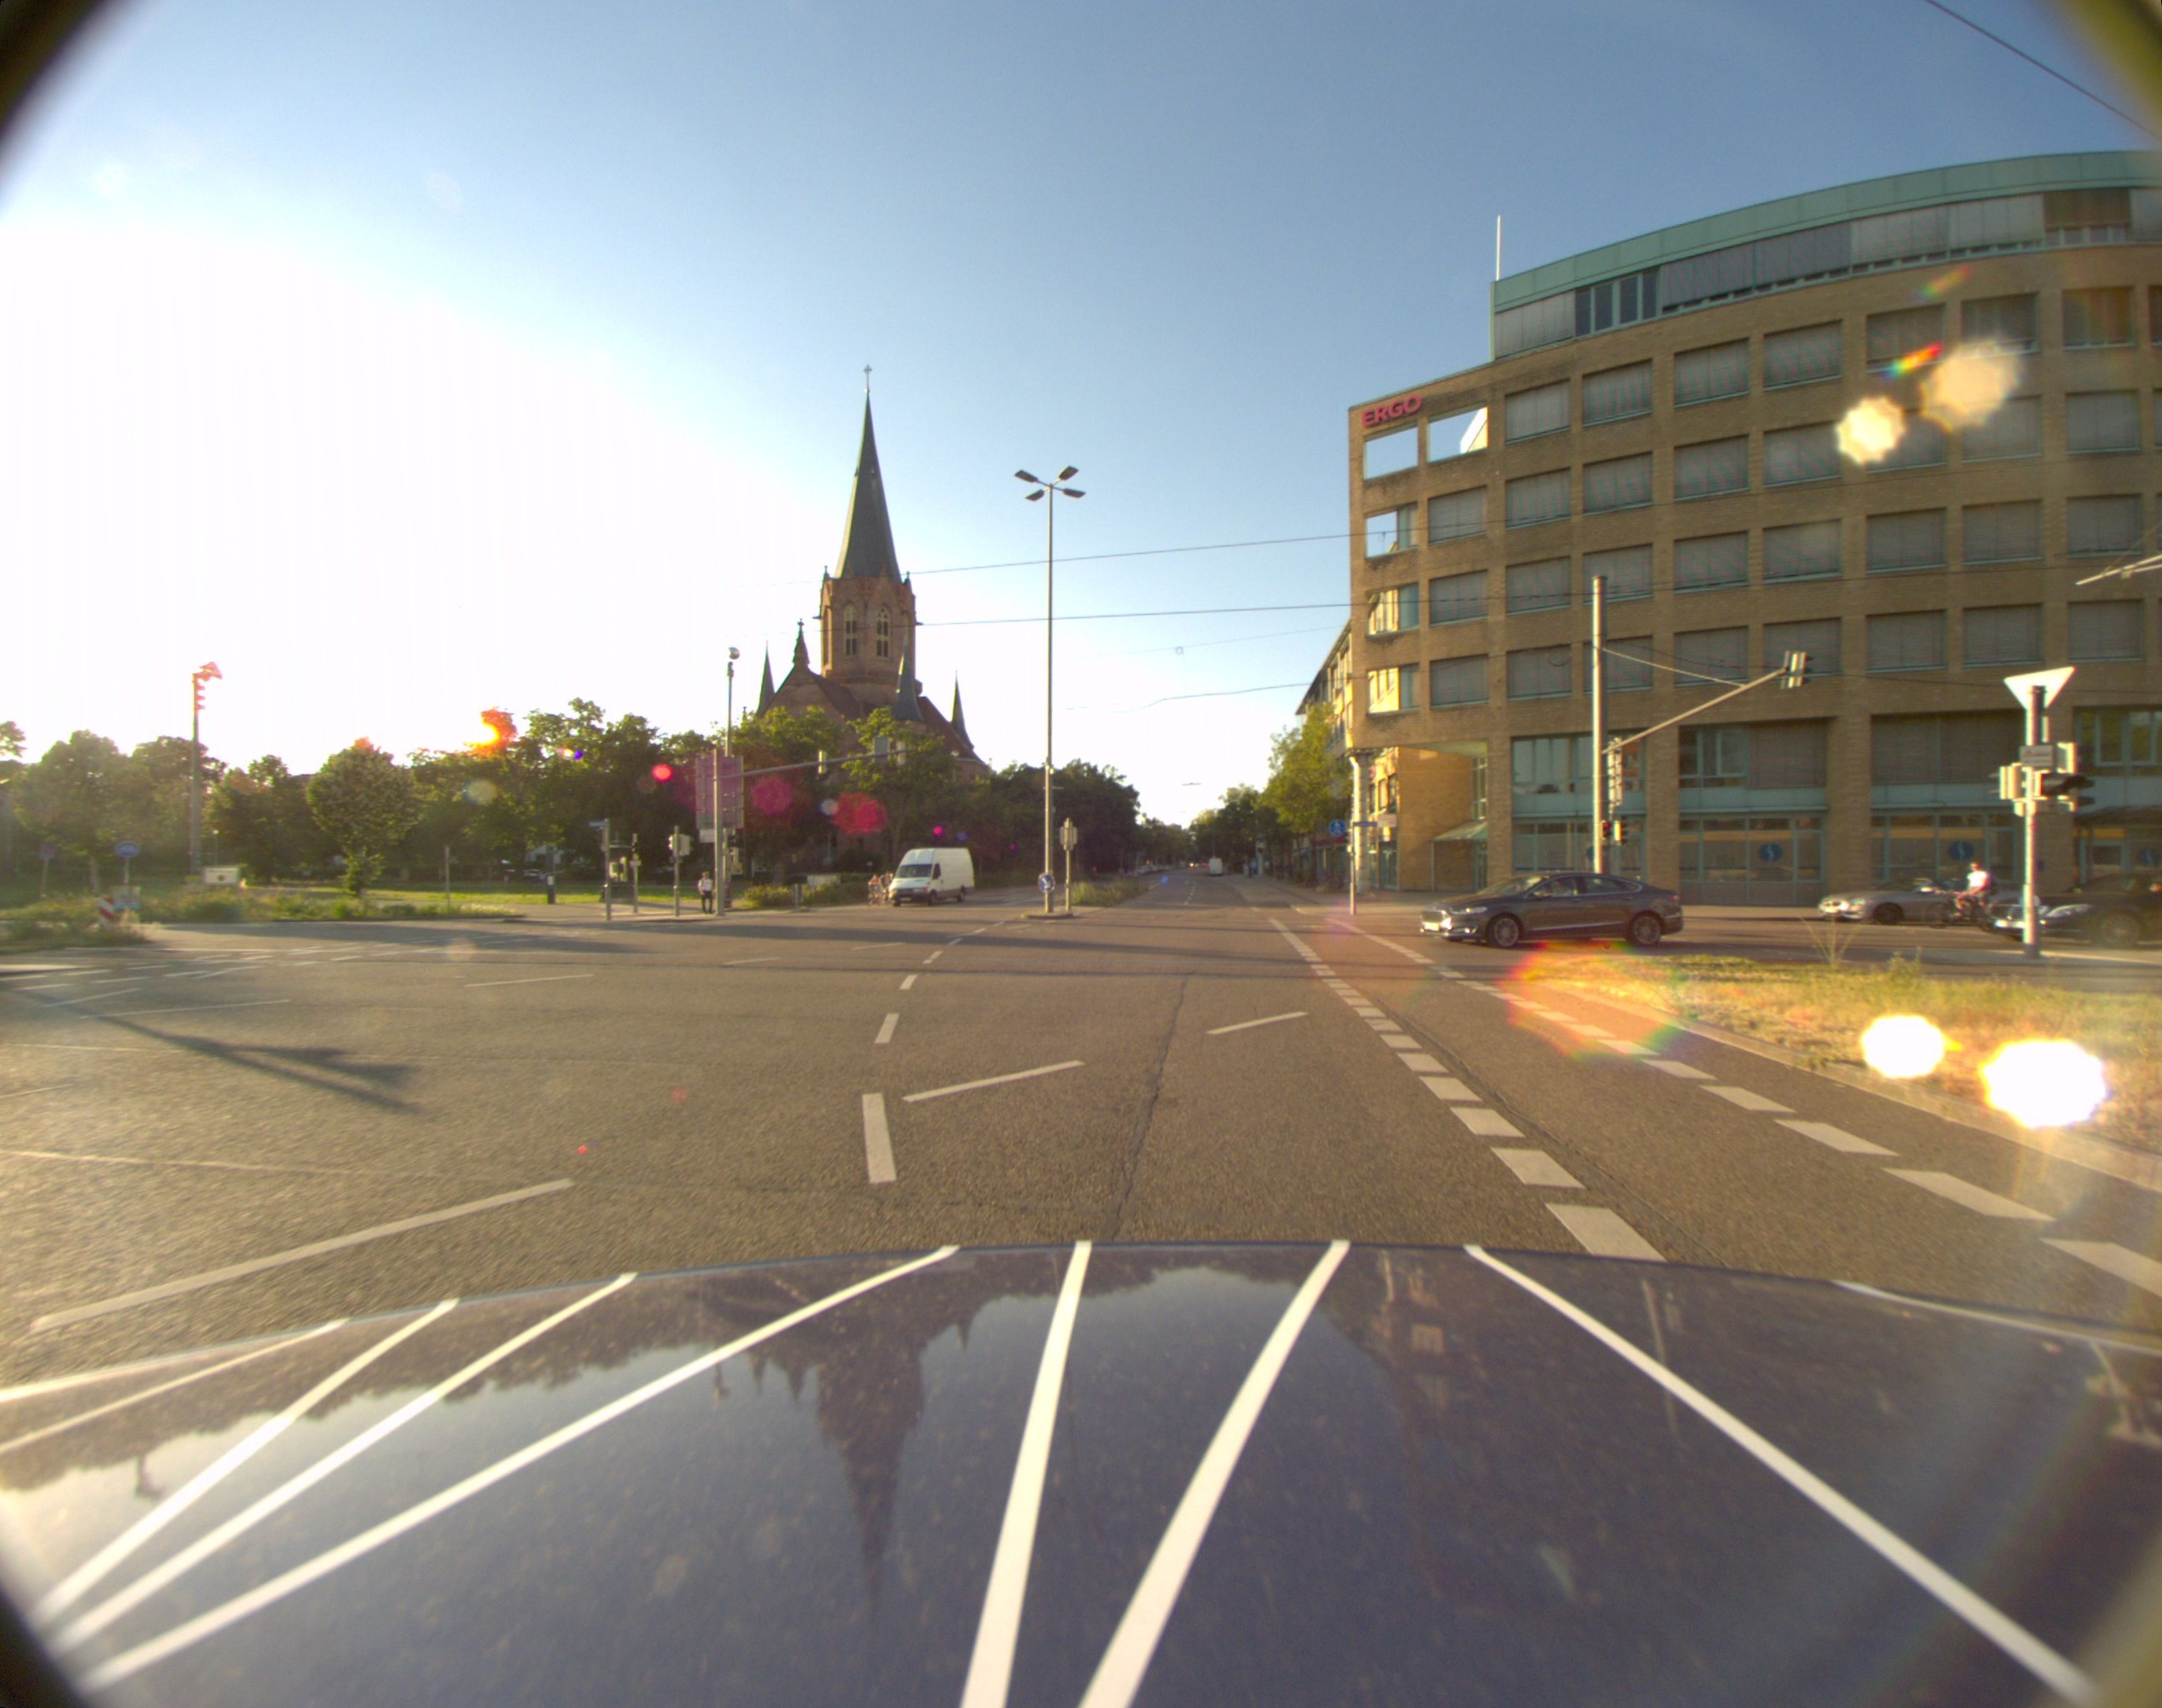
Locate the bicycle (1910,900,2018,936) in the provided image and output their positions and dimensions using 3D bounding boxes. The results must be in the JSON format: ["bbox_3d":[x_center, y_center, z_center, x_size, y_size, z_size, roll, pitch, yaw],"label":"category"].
[{"bbox_3d":[22.762,1.644,19.608,1.867,0.868,0.636,0,0,7],"label":"bicycle"}]

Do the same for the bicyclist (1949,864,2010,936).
[{"bbox_3d":[23.104,1.170,19.553,0.776,1.810,0.636,0,0,8],"label":"bicyclist"}]

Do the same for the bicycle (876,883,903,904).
[{"bbox_3d":[-9.833,2.029,39.087,0.673,0.976,1.622,0,0,14],"label":"bicycle"}]

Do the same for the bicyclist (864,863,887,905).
[{"bbox_3d":[-9.980,1.449,36.923,0.720,2.002,0.903,0,0,14],"label":"bicyclist"}]

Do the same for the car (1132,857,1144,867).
[{"bbox_3d":[9.508,1.297,126.686,1.905,1.608,4.002,0,0,4],"label":"car"}]

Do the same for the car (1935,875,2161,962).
[{"bbox_3d":[20.069,1.186,14.616,4.698,1.526,1.900,0,0,9],"label":"car"}]

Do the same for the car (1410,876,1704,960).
[{"bbox_3d":[9.257,1.201,15.029,4.723,1.477,1.891,0,0,-4],"label":"car"}]

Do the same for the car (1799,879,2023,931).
[{"bbox_3d":[23.934,1.451,22.077,4.221,1.377,1.750,0,0,10],"label":"car"}]

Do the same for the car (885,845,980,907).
[{"bbox_3d":[-7.225,1.018,37.961,2.089,2.811,7.041,0,0,12],"label":"car"}]

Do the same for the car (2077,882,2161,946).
[{"bbox_3d":[25.894,1.317,16.720,4.732,1.377,2.002,0,-1,9],"label":"car"}]

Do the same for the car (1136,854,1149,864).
[{"bbox_3d":[10.585,0.818,131.349,1.998,1.648,4.000,-1,0,2],"label":"car"}]

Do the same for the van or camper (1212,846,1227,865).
[{"bbox_3d":[20.509,0.226,112.584,2.152,2.826,4.408,0,0,11],"label":"van or camper"}]

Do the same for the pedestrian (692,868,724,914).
[{"bbox_3d":[-14.859,1.467,30.275,0.809,1.793,0.837,0,0,25],"label":"pedestrian"}]

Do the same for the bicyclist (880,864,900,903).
[{"bbox_3d":[-9.823,1.506,39.131,0.666,2.002,0.876,0,0,13],"label":"bicyclist"}]

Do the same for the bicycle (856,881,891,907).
[{"bbox_3d":[-10.017,1.913,36.774,0.733,1.169,1.976,0,0,15],"label":"bicycle"}]
